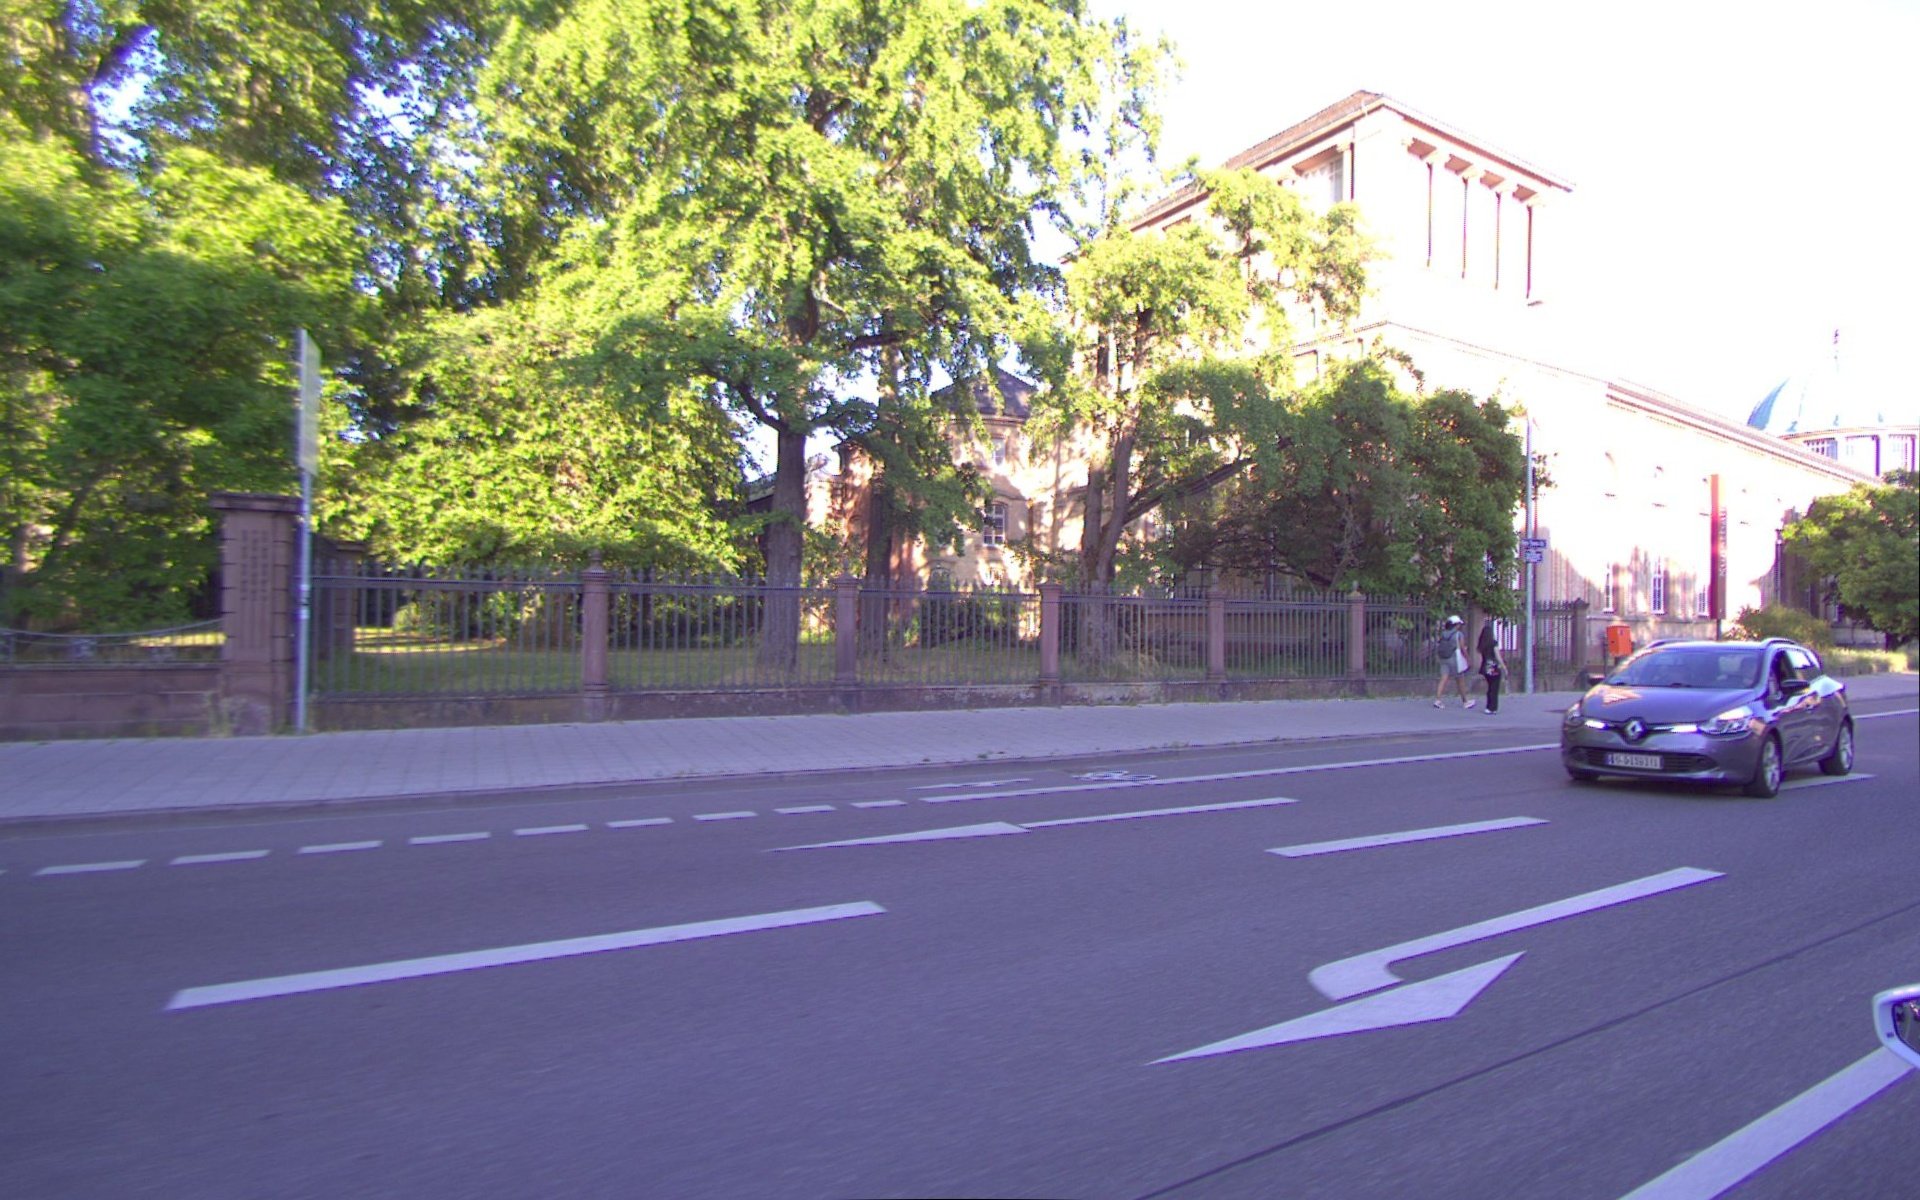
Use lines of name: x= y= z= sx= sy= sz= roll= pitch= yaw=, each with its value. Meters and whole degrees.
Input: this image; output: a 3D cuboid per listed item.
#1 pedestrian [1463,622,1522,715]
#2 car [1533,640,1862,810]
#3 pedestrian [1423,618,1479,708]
pedestrian: x=9.712 y=1.231 z=18.320 sx=0.679 sy=1.644 sz=0.679 roll=1 pitch=-1 yaw=-25
car: x=7.888 y=1.158 z=10.637 sx=3.965 sy=1.458 sz=1.821 roll=2 pitch=-3 yaw=-38
pedestrian: x=9.278 y=1.172 z=18.982 sx=0.679 sy=1.644 sz=0.679 roll=1 pitch=-1 yaw=-24
